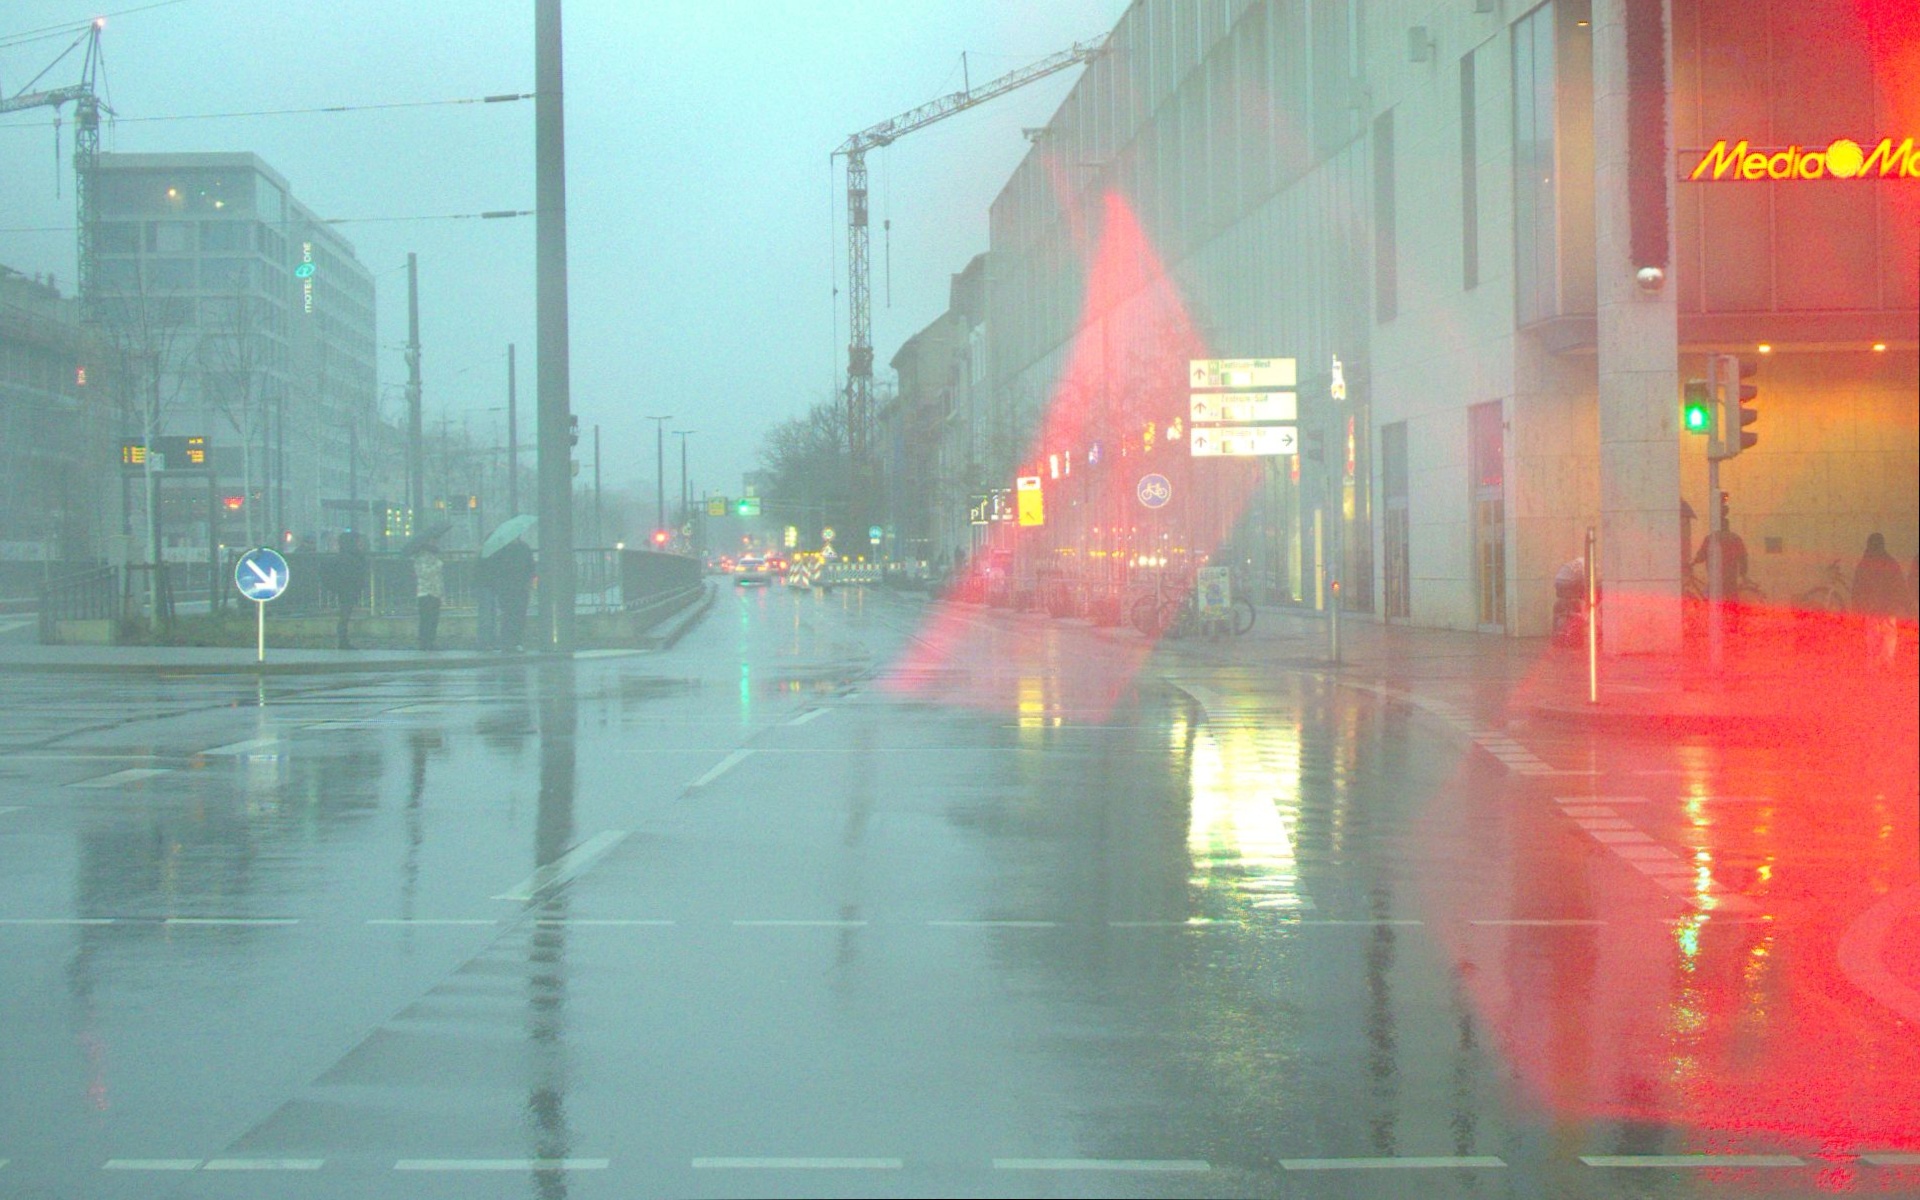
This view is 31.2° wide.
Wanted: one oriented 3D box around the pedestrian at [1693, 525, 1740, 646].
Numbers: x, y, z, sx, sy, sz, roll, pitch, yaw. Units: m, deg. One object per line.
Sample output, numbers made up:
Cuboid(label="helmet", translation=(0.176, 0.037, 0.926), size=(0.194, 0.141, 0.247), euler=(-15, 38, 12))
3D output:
Cuboid(label="pedestrian", translation=(11.023, -0.212, 50.078), size=(0.600, 1.739, 0.524), euler=(1, 0, 8))

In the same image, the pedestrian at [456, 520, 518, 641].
Cuboid(label="pedestrian", translation=(-6.598, -0.275, 47.979), size=(0.612, 1.680, 0.577), euler=(1, 1, 42))

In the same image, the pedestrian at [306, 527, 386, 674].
Cuboid(label="pedestrian", translation=(-8.465, -0.001, 47.413), size=(0.785, 2.007, 0.726), euler=(1, 1, 42))

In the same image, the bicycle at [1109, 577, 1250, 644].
Cuboid(label="bicycle", translation=(3.929, 0.178, 61.609), size=(2.442, 1.150, 0.674), euler=(-1, 0, -1))

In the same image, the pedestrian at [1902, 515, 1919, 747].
Cuboid(label="pedestrian", translation=(10.404, 0.324, 36.261), size=(0.689, 2.433, 0.758), euler=(1, 0, -1))

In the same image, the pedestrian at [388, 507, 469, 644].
Cuboid(label="pedestrian", translation=(-7.187, -0.331, 46.477), size=(0.821, 1.825, 0.786), euler=(1, 0, -31))

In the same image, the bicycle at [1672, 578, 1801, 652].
Cuboid(label="bicycle", translation=(11.449, 0.220, 50.703), size=(1.767, 1.066, 0.525), euler=(1, 0, -4))

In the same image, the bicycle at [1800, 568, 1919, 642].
Cuboid(label="bicycle", translation=(13.321, 0.065, 50.830), size=(1.646, 1.066, 0.525), euler=(1, 0, -4))

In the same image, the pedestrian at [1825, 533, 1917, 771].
Cuboid(label="pedestrian", translation=(9.458, 0.531, 35.720), size=(0.714, 2.433, 0.758), euler=(1, 0, -1))

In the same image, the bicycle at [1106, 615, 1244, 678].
Cuboid(label="bicycle", translation=(3.889, 0.838, 62.339), size=(2.425, 1.095, 0.712), euler=(-1, 0, -2))

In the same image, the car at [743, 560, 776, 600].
Cuboid(label="car", translation=(-10.166, -1.033, 174.233), size=(1.577, 2.007, 3.172), euler=(-1, 1, -3))
